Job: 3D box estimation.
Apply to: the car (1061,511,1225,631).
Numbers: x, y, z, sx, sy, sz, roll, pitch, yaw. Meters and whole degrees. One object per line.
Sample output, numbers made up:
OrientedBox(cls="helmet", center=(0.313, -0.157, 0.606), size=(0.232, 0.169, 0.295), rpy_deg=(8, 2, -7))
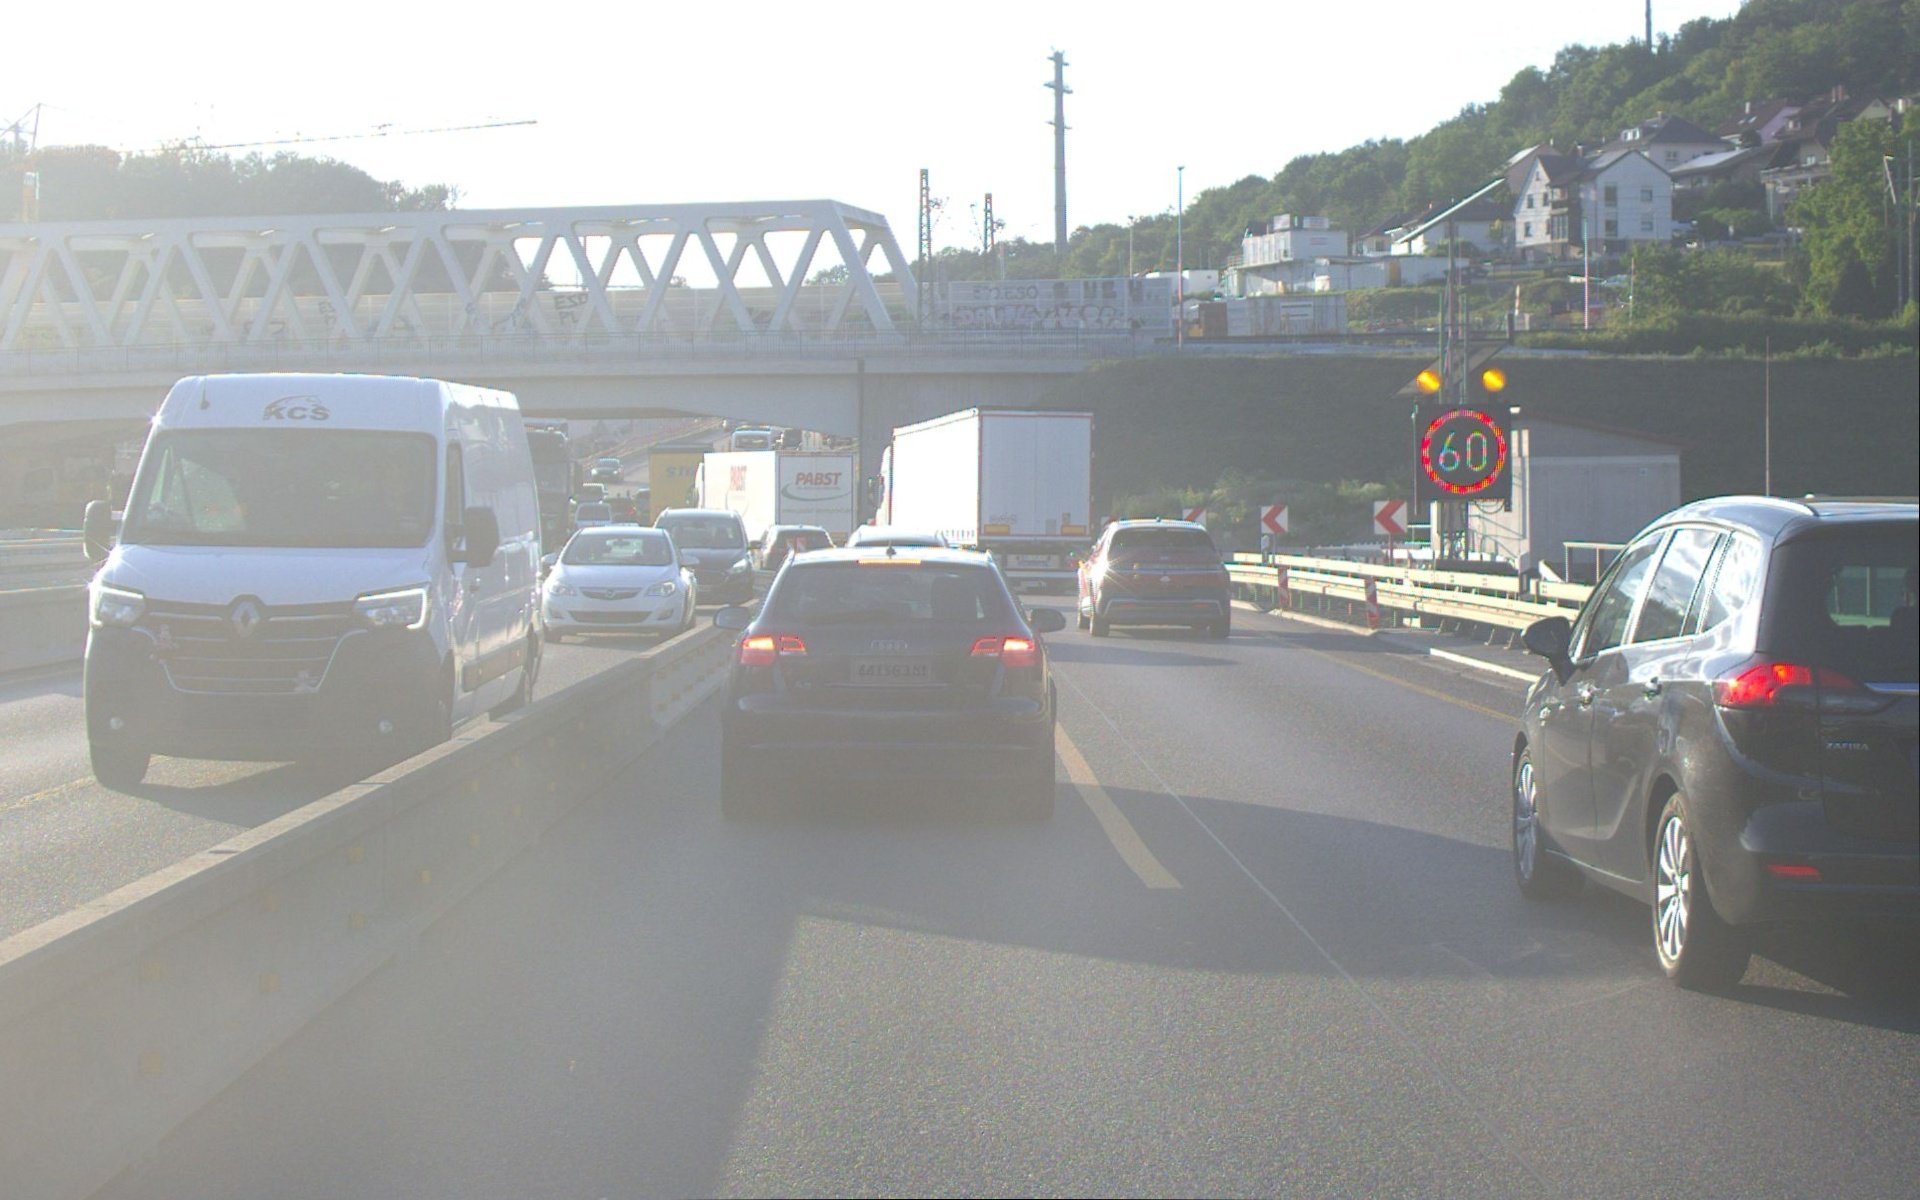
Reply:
OrientedBox(cls="car", center=(2.503, -0.439, 47.913), size=(1.769, 1.547, 4.001), rpy_deg=(2, 1, -4))

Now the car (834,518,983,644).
OrientedBox(cls="car", center=(-0.696, -0.275, 43.838), size=(1.765, 1.481, 4.001), rpy_deg=(2, 1, -2))

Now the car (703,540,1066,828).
OrientedBox(cls="car", center=(-0.426, 0.379, 18.900), size=(1.770, 1.385, 4.001), rpy_deg=(1, 1, -2))

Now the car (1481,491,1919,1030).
OrientedBox(cls="car", center=(3.188, 0.450, 12.632), size=(1.814, 1.626, 4.411), rpy_deg=(1, 1, -1))

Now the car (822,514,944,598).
OrientedBox(cls="car", center=(-1.478, -0.850, 64.412), size=(1.765, 1.481, 4.001), rpy_deg=(2, 1, -8))

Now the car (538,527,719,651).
OrientedBox(cls="car", center=(-4.207, -0.178, 44.202), size=(1.923, 1.492, 4.368), rpy_deg=(1, 1, 0))

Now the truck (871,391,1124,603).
OrientedBox(cls="truck", center=(0.622, -2.361, 81.223), size=(3.385, 4.483, 15.271), rpy_deg=(1, 1, -9))

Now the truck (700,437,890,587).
OrientedBox(cls="truck", center=(-5.588, -2.849, 112.181), size=(3.889, 4.483, 15.272), rpy_deg=(1, 1, -11))

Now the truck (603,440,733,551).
OrientedBox(cls="truck", center=(-12.674, -4.570, 147.917), size=(3.889, 4.482, 13.853), rpy_deg=(1, 2, -12))

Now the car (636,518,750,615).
OrientedBox(cls="car", center=(-4.394, -0.581, 57.110), size=(1.792, 1.534, 4.368), rpy_deg=(0, 1, -3))

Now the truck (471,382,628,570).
OrientedBox(cls="truck", center=(-9.060, -2.708, 76.856), size=(2.930, 3.877, 10.265), rpy_deg=(1, 1, -4))

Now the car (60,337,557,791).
OrientedBox(cls="car", center=(-3.943, -0.263, 22.002), size=(2.073, 2.449, 6.267), rpy_deg=(1, 1, -1))

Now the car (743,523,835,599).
OrientedBox(cls="car", center=(-4.152, -0.964, 82.878), size=(1.698, 1.726, 4.001), rpy_deg=(1, 1, -10))
